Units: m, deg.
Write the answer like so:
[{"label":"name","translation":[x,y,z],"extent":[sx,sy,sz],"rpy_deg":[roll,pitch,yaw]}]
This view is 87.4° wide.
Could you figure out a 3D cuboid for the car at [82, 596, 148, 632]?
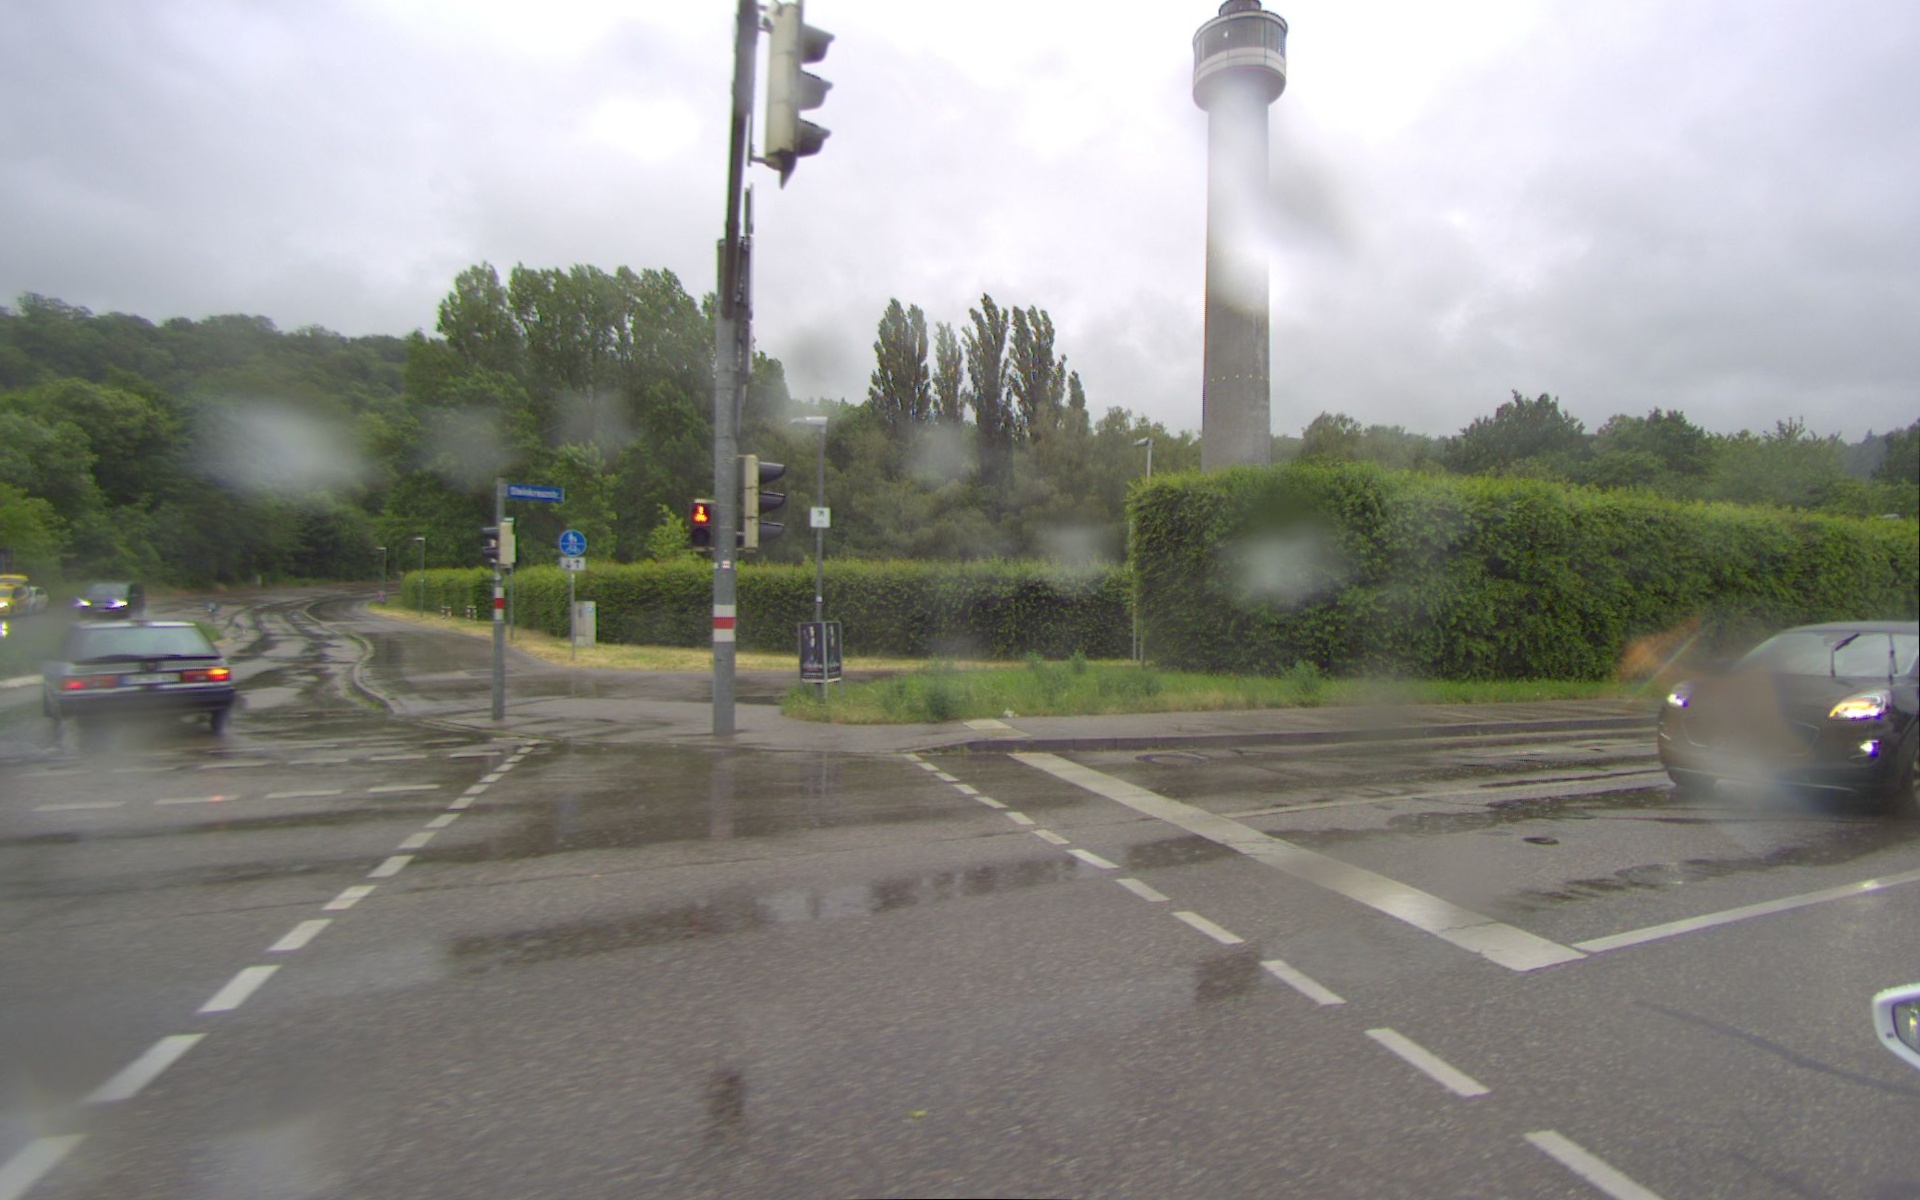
[{"label":"car","translation":[-44.754,0.736,53.272],"extent":[1.809,1.840,3.972],"rpy_deg":[0,0,-27]}]

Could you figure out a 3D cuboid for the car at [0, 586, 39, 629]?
[{"label":"car","translation":[-47.361,0.345,49.604],"extent":[1.790,2.054,3.658],"rpy_deg":[0,1,-27]}]

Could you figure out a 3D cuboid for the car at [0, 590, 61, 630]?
[{"label":"car","translation":[-49.488,0.535,53.308],"extent":[1.791,2.040,3.657],"rpy_deg":[0,0,-27]}]

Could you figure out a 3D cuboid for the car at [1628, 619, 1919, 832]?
[{"label":"car","translation":[8.075,0.946,9.066],"extent":[4.011,1.525,1.777],"rpy_deg":[1,0,-29]}]

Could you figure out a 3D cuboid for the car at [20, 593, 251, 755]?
[{"label":"car","translation":[-10.666,0.792,12.915],"extent":[2.029,1.731,4.014],"rpy_deg":[0,0,-43]}]
